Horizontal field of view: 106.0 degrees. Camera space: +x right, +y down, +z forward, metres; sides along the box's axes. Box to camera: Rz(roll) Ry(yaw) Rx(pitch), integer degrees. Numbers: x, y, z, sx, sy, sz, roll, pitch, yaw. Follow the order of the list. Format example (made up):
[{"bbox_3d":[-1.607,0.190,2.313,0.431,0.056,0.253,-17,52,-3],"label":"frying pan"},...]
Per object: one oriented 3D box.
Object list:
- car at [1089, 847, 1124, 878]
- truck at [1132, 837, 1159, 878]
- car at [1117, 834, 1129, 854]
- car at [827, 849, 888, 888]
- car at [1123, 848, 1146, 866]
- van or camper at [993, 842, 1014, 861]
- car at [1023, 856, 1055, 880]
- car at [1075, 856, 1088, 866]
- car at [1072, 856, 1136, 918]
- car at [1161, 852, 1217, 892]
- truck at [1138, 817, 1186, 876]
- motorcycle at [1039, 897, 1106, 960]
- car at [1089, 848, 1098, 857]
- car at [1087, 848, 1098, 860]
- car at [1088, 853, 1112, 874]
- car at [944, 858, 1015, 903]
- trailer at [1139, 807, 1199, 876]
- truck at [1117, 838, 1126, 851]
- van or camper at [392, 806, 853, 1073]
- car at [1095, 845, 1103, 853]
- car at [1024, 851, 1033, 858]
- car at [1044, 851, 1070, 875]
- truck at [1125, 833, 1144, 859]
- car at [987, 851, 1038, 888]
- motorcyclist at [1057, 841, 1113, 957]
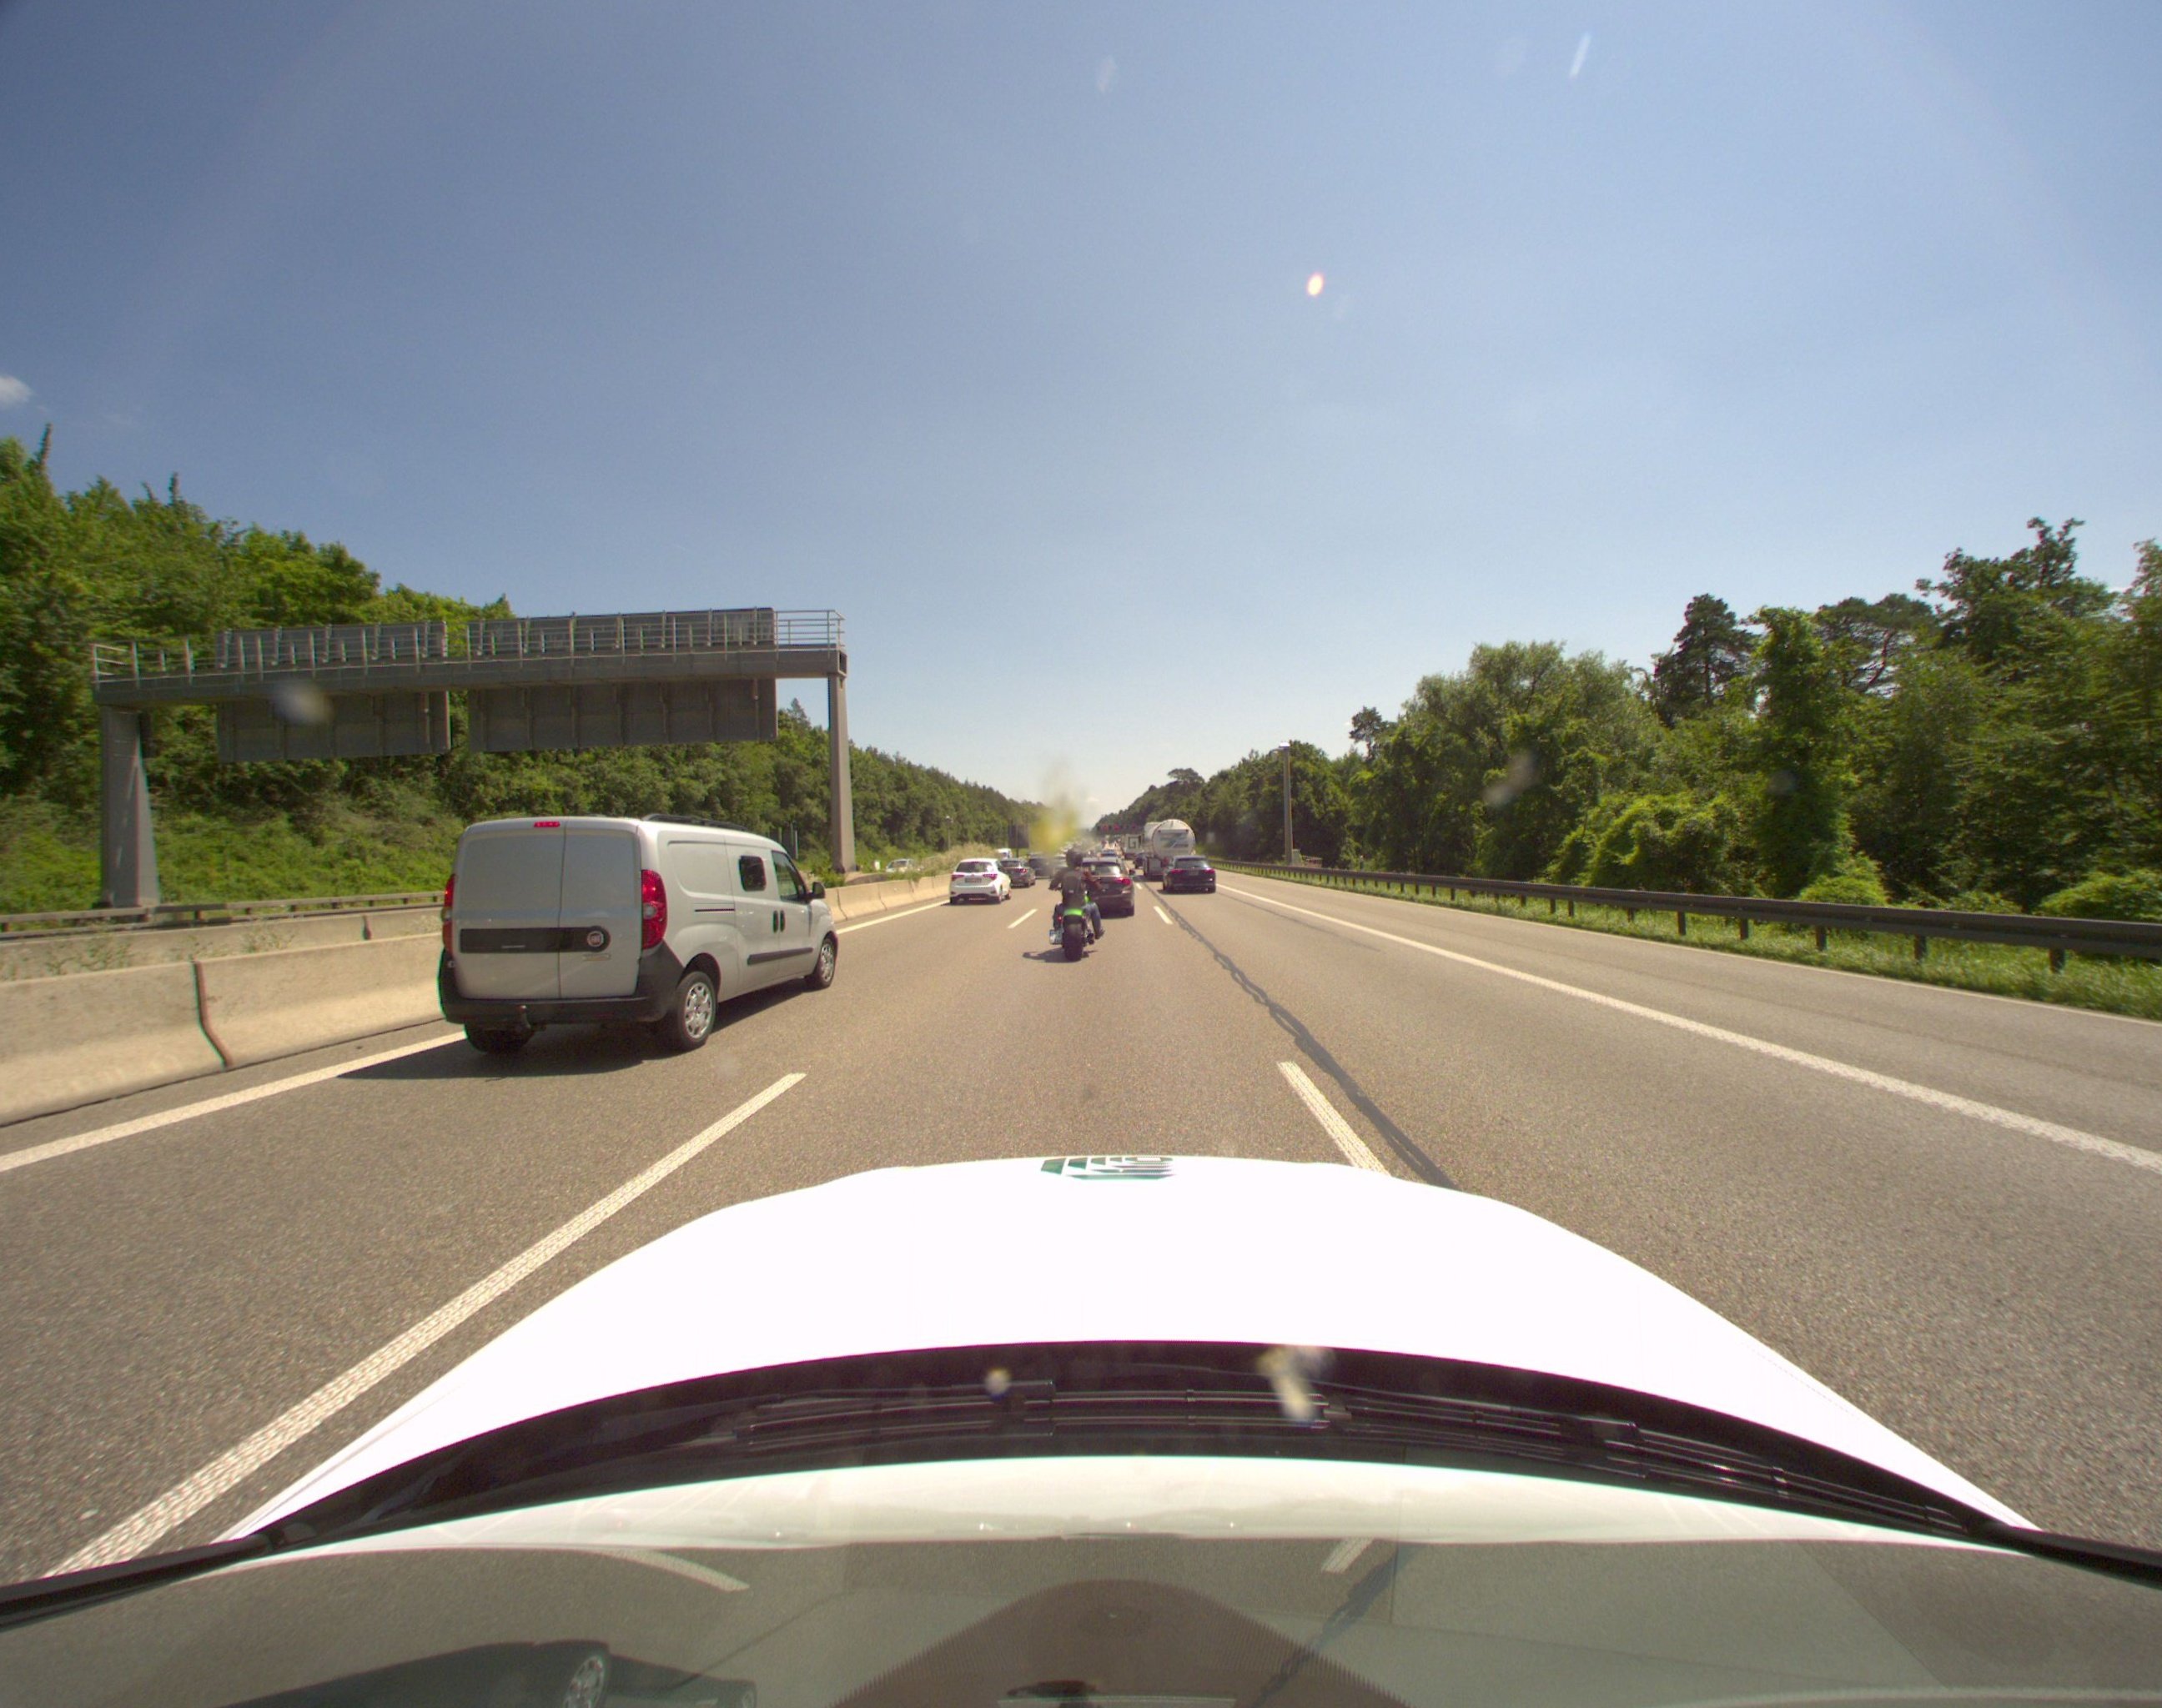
[{"bbox_3d":[1.494,0.532,48.038,1.986,1.711,4.001,-1,-1,1],"label":"car"},{"bbox_3d":[7.334,0.379,93.388,2.380,4.464,10.871,-1,0,1],"label":"truck"},{"bbox_3d":[8.726,-2.060,169.820,2.159,3.893,9.334,-1,-1,2],"label":"car"},{"bbox_3d":[-12.290,0.751,45.074,1.985,2.013,4.274,-1,0,3],"label":"car"},{"bbox_3d":[5.015,0.308,76.324,1.771,1.527,3.997,-1,-1,-1],"label":"car"},{"bbox_3d":[-10.908,-0.335,115.068,2.143,2.423,6.199,-1,-1,2],"label":"van or camper"},{"bbox_3d":[-2.680,0.914,53.028,1.988,1.464,3.997,-1,-1,-2],"label":"car"},{"bbox_3d":[0.098,0.949,117.265,1.757,1.442,4.003,-1,0,3],"label":"car"},{"bbox_3d":[0.629,0.806,21.501,1.535,1.450,4.002,-1,-1,2],"label":"car"},{"bbox_3d":[4.272,0.732,32.763,1.785,1.459,4.626,-1,-1,2],"label":"car"},{"bbox_3d":[5.347,-0.404,54.780,2.817,3.671,6.432,-1,-1,2],"label":"truck"},{"bbox_3d":[-0.083,1.121,12.767,0.932,0.793,2.300,-1,-1,2],"label":"motorcycle"},{"bbox_3d":[2.478,-0.296,159.802,1.654,1.599,4.002,-1,-1,3],"label":"car"},{"bbox_3d":[1.926,0.004,139.221,1.654,1.978,4.002,-1,-1,3],"label":"car"},{"bbox_3d":[1.646,0.838,69.247,1.986,1.775,4.001,-1,-1,1],"label":"car"},{"bbox_3d":[-3.408,0.862,27.993,1.769,1.411,4.002,-1,-1,2],"label":"car"},{"bbox_3d":[5.112,-0.550,48.989,2.817,3.671,10.737,-1,-1,2],"label":"trailer"},{"bbox_3d":[11.914,-2.813,240.161,2.686,3.405,10.483,-2,-1,2],"label":"truck"},{"bbox_3d":[-3.910,0.610,8.081,1.846,1.880,4.563,-1,0,2],"label":"van or camper"},{"bbox_3d":[4.739,-1.244,215.565,1.986,2.014,4.002,-2,-1,2],"label":"car"},{"bbox_3d":[-14.255,0.108,220.656,1.986,2.013,4.001,-1,0,1],"label":"car"},{"bbox_3d":[-2.087,0.849,71.440,1.986,2.014,4.001,-1,-1,2],"label":"car"},{"bbox_3d":[8.621,-1.238,131.135,2.840,3.822,7.196,-1,-1,5],"label":"truck"},{"bbox_3d":[-3.316,0.785,40.317,1.986,1.684,4.332,-1,-1,2],"label":"car"},{"bbox_3d":[0.078,0.672,12.455,0.796,1.688,1.017,-1,-2,2],"label":"motorcyclist"}]
